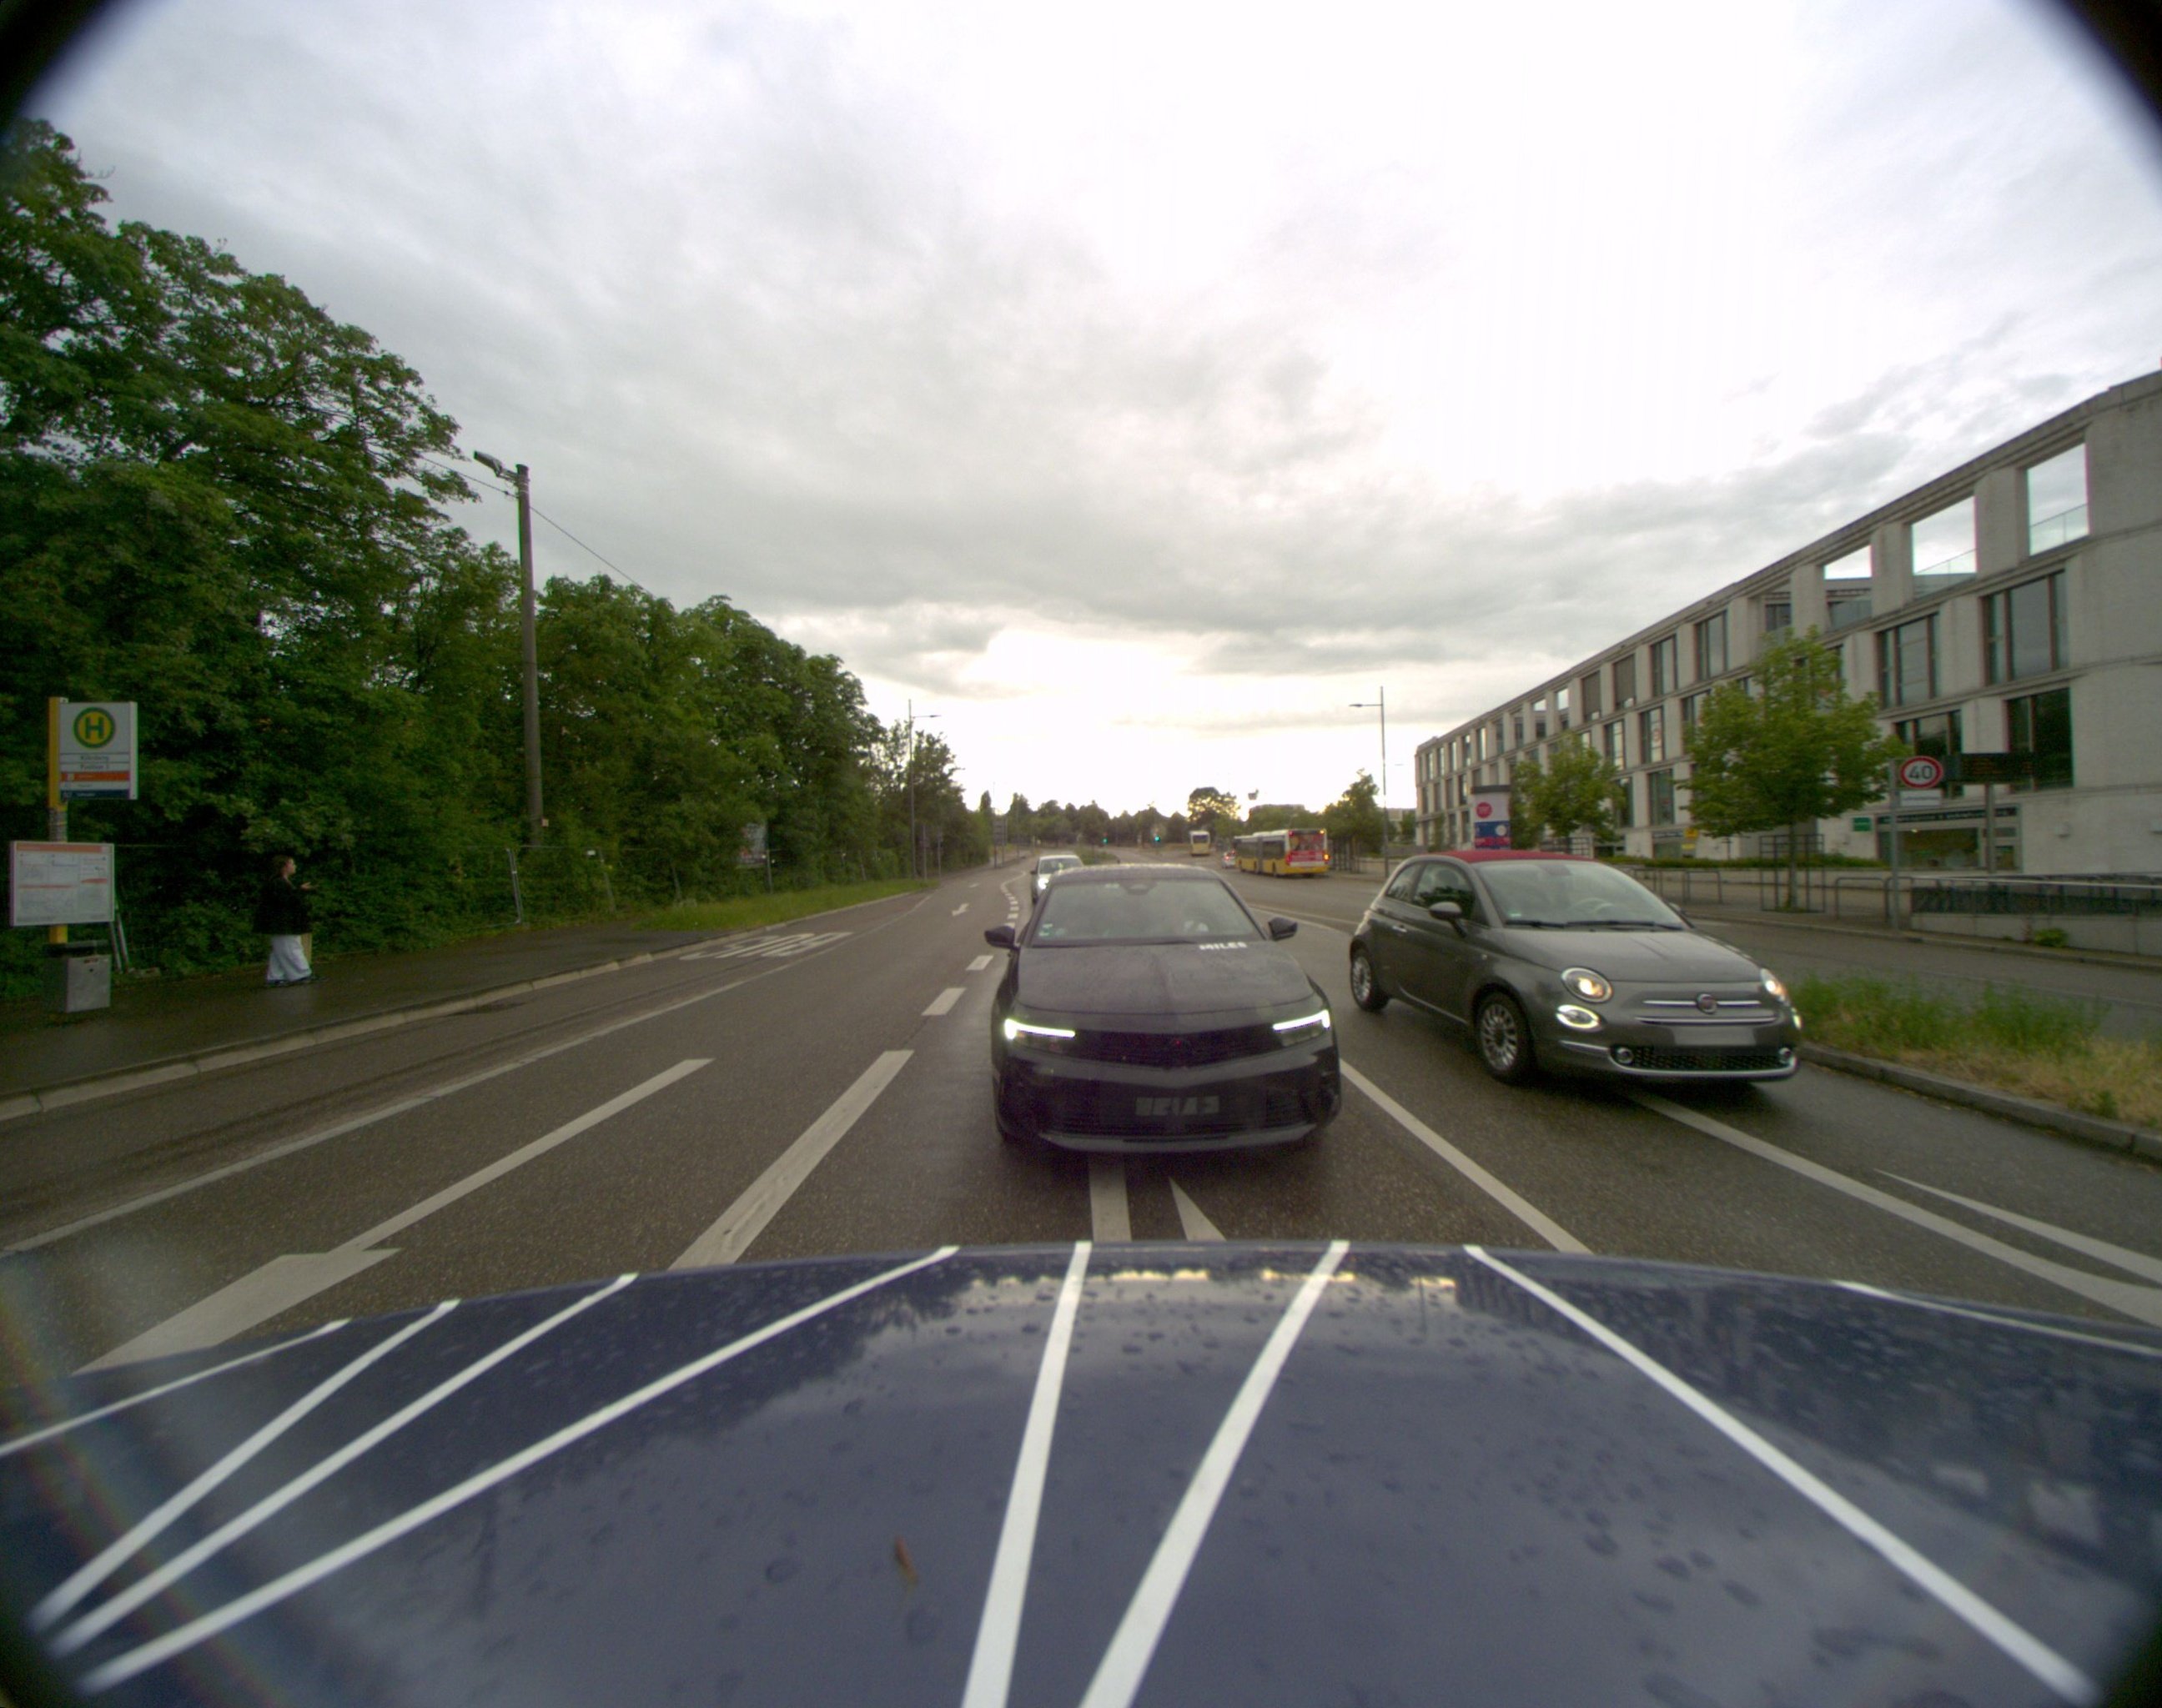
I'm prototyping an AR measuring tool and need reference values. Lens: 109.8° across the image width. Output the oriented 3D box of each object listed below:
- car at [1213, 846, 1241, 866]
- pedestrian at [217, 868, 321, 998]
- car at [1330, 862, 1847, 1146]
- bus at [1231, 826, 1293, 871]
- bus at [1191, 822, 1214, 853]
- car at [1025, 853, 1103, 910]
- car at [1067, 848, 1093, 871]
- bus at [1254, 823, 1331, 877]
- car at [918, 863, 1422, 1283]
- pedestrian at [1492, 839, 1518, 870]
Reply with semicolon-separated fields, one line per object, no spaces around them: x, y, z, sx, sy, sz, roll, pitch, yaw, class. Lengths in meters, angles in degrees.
13.569;0.169;70.946;1.867;1.777;3.999;-2;1;1;car
-10.613;1.011;9.951;0.588;1.618;0.661;-1;1;1;pedestrian
3.393;0.847;5.948;1.631;1.473;3.505;-1;1;-2;car
14.111;-0.449;60.025;2.693;3.163;9.912;-2;1;2;bus
18.374;-2.418;113.924;2.757;4.129;19.359;-2;1;11;bus
-0.647;0.784;24.123;1.902;1.524;4.764;-2;1;-8;car
-0.111;0.405;59.999;1.934;1.649;4.617;-1;0;-2;car
13.820;-0.310;50.520;2.759;3.194;9.207;-2;1;2;bus
0.379;0.886;5.329;1.901;1.456;4.767;-2;1;1;car
22.200;0.042;39.805;0.981;1.572;0.868;-1;1;43;pedestrian
